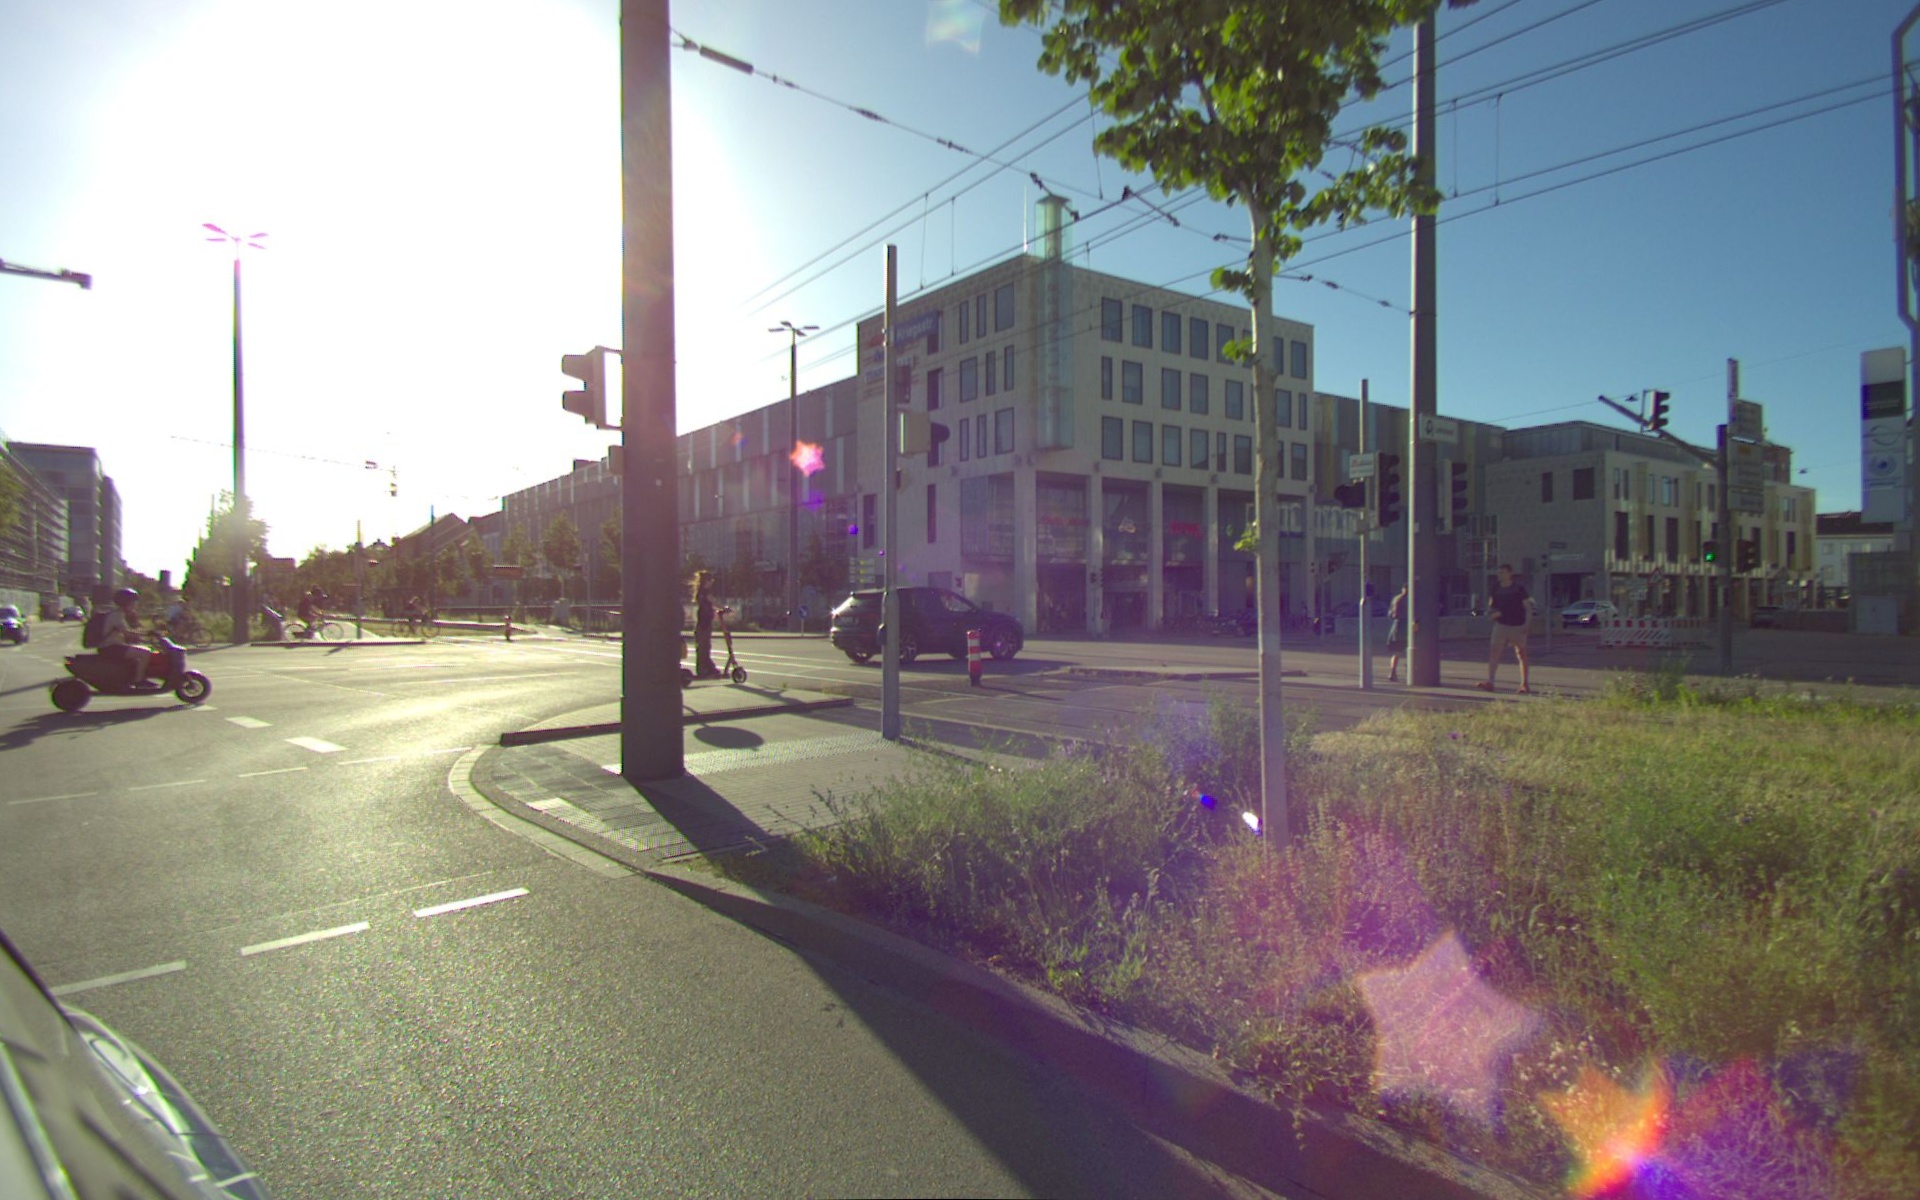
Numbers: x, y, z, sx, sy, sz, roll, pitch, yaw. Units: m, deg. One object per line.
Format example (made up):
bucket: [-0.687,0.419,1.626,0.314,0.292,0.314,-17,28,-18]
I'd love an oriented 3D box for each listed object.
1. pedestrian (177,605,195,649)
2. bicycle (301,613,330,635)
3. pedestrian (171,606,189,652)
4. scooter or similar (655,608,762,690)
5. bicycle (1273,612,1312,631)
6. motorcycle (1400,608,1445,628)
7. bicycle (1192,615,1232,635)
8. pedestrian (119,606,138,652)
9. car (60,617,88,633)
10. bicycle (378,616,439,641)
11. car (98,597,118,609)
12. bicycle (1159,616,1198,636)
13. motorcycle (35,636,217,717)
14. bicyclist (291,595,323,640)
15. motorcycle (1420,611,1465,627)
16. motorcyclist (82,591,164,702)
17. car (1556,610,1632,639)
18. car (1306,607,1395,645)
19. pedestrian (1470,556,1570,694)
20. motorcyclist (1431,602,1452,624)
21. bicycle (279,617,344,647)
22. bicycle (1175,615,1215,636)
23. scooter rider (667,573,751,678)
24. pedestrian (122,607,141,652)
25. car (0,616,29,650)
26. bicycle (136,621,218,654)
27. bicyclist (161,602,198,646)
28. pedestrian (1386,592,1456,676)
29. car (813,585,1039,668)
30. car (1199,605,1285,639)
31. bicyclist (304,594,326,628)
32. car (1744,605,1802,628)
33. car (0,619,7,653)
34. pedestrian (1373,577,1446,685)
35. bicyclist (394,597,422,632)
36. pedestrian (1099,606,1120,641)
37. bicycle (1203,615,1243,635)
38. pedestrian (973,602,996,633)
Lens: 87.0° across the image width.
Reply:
pedestrian: [-28.118,0.974,36.771,0.443,1.578,0.521,-1,0,-33]
bicycle: [-29.097,1.051,45.684,0.744,0.948,2.398,-1,0,-41]
pedestrian: [-27.634,1.021,35.863,0.443,1.578,0.521,-1,0,-33]
scooter or similar: [-3.840,0.723,15.507,1.459,1.184,0.646,0,1,-36]
bicycle: [20.775,1.340,63.292,0.672,1.119,2.483,0,0,-31]
motorcycle: [31.715,1.213,69.478,0.902,1.226,2.682,0,1,-39]
bicycle: [14.560,1.440,58.508,0.672,1.119,2.483,0,0,-30]
pedestrian: [-28.691,0.995,34.914,0.443,1.578,0.521,-1,0,-33]
car: [-84.073,2.339,96.049,1.757,1.335,4.008,0,1,-38]
bicycle: [-22.208,1.133,40.761,2.045,0.934,0.807,-2,1,-41]
car: [-102.407,0.404,121.675,1.758,1.335,4.008,0,1,-39]
bicycle: [12.308,1.456,57.083,0.647,1.121,2.417,0,0,-32]
motorcycle: [-11.674,1.040,14.239,1.928,0.976,0.759,-1,1,-39]
bicyclist: [-23.240,0.611,36.028,0.926,1.556,0.651,-1,0,-34]
motorcycle: [33.695,1.323,70.696,0.902,1.003,2.682,0,1,-39]
motorcyclist: [-11.724,0.622,14.206,0.867,1.495,0.759,0,1,-38]
car: [38.424,1.442,61.320,5.525,1.705,2.185,0,0,-38]
car: [18.346,1.181,47.462,4.224,1.690,1.948,0,0,-37]
pedestrian: [8.219,0.341,14.859,1.035,1.925,1.016,-1,0,-44]
motorcyclist: [33.638,0.920,70.748,0.902,1.482,1.041,0,1,-39]
bicycle: [-23.119,1.129,36.094,1.945,1.004,0.651,-1,0,-34]
bicycle: [13.408,1.443,57.819,0.672,1.119,2.483,0,0,-32]
scooter rider: [-3.845,0.372,15.507,1.099,1.555,0.646,0,1,-36]
pedestrian: [-29.015,1.022,35.457,0.443,1.578,0.521,-1,0,-33]
car: [-42.726,1.459,44.654,1.967,1.386,4.009,-2,1,-37]
bicycle: [-25.887,1.224,33.493,2.042,0.986,0.808,-1,1,-31]
bicyclist: [-25.846,0.776,33.525,0.829,1.412,0.808,-1,1,-31]
pedestrian: [9.056,0.650,19.884,0.909,1.561,0.900,-2,1,-37]
car: [-0.705,0.529,22.954,4.714,1.674,2.206,-1,0,-38]
car: [14.223,1.085,50.979,4.222,1.593,1.949,-1,0,-34]
bicyclist: [-29.105,0.497,45.681,0.744,1.516,0.618,-1,0,-41]
car: [52.831,1.065,65.745,4.192,1.461,1.947,0,0,-36]
car: [-39.473,1.492,40.121,1.967,1.386,4.009,-2,1,-37]
pedestrian: [7.585,0.506,17.087,0.727,1.757,0.859,-1,0,-40]
bicyclist: [-22.224,0.574,40.757,0.828,1.367,0.807,-2,1,-40]
pedestrian: [7.710,1.200,52.199,0.744,1.753,0.755,0,0,-35]
bicycle: [15.279,1.428,58.857,0.672,1.119,2.483,0,0,-31]
pedestrian: [1.290,0.916,53.392,0.998,1.663,0.944,0,0,15]
